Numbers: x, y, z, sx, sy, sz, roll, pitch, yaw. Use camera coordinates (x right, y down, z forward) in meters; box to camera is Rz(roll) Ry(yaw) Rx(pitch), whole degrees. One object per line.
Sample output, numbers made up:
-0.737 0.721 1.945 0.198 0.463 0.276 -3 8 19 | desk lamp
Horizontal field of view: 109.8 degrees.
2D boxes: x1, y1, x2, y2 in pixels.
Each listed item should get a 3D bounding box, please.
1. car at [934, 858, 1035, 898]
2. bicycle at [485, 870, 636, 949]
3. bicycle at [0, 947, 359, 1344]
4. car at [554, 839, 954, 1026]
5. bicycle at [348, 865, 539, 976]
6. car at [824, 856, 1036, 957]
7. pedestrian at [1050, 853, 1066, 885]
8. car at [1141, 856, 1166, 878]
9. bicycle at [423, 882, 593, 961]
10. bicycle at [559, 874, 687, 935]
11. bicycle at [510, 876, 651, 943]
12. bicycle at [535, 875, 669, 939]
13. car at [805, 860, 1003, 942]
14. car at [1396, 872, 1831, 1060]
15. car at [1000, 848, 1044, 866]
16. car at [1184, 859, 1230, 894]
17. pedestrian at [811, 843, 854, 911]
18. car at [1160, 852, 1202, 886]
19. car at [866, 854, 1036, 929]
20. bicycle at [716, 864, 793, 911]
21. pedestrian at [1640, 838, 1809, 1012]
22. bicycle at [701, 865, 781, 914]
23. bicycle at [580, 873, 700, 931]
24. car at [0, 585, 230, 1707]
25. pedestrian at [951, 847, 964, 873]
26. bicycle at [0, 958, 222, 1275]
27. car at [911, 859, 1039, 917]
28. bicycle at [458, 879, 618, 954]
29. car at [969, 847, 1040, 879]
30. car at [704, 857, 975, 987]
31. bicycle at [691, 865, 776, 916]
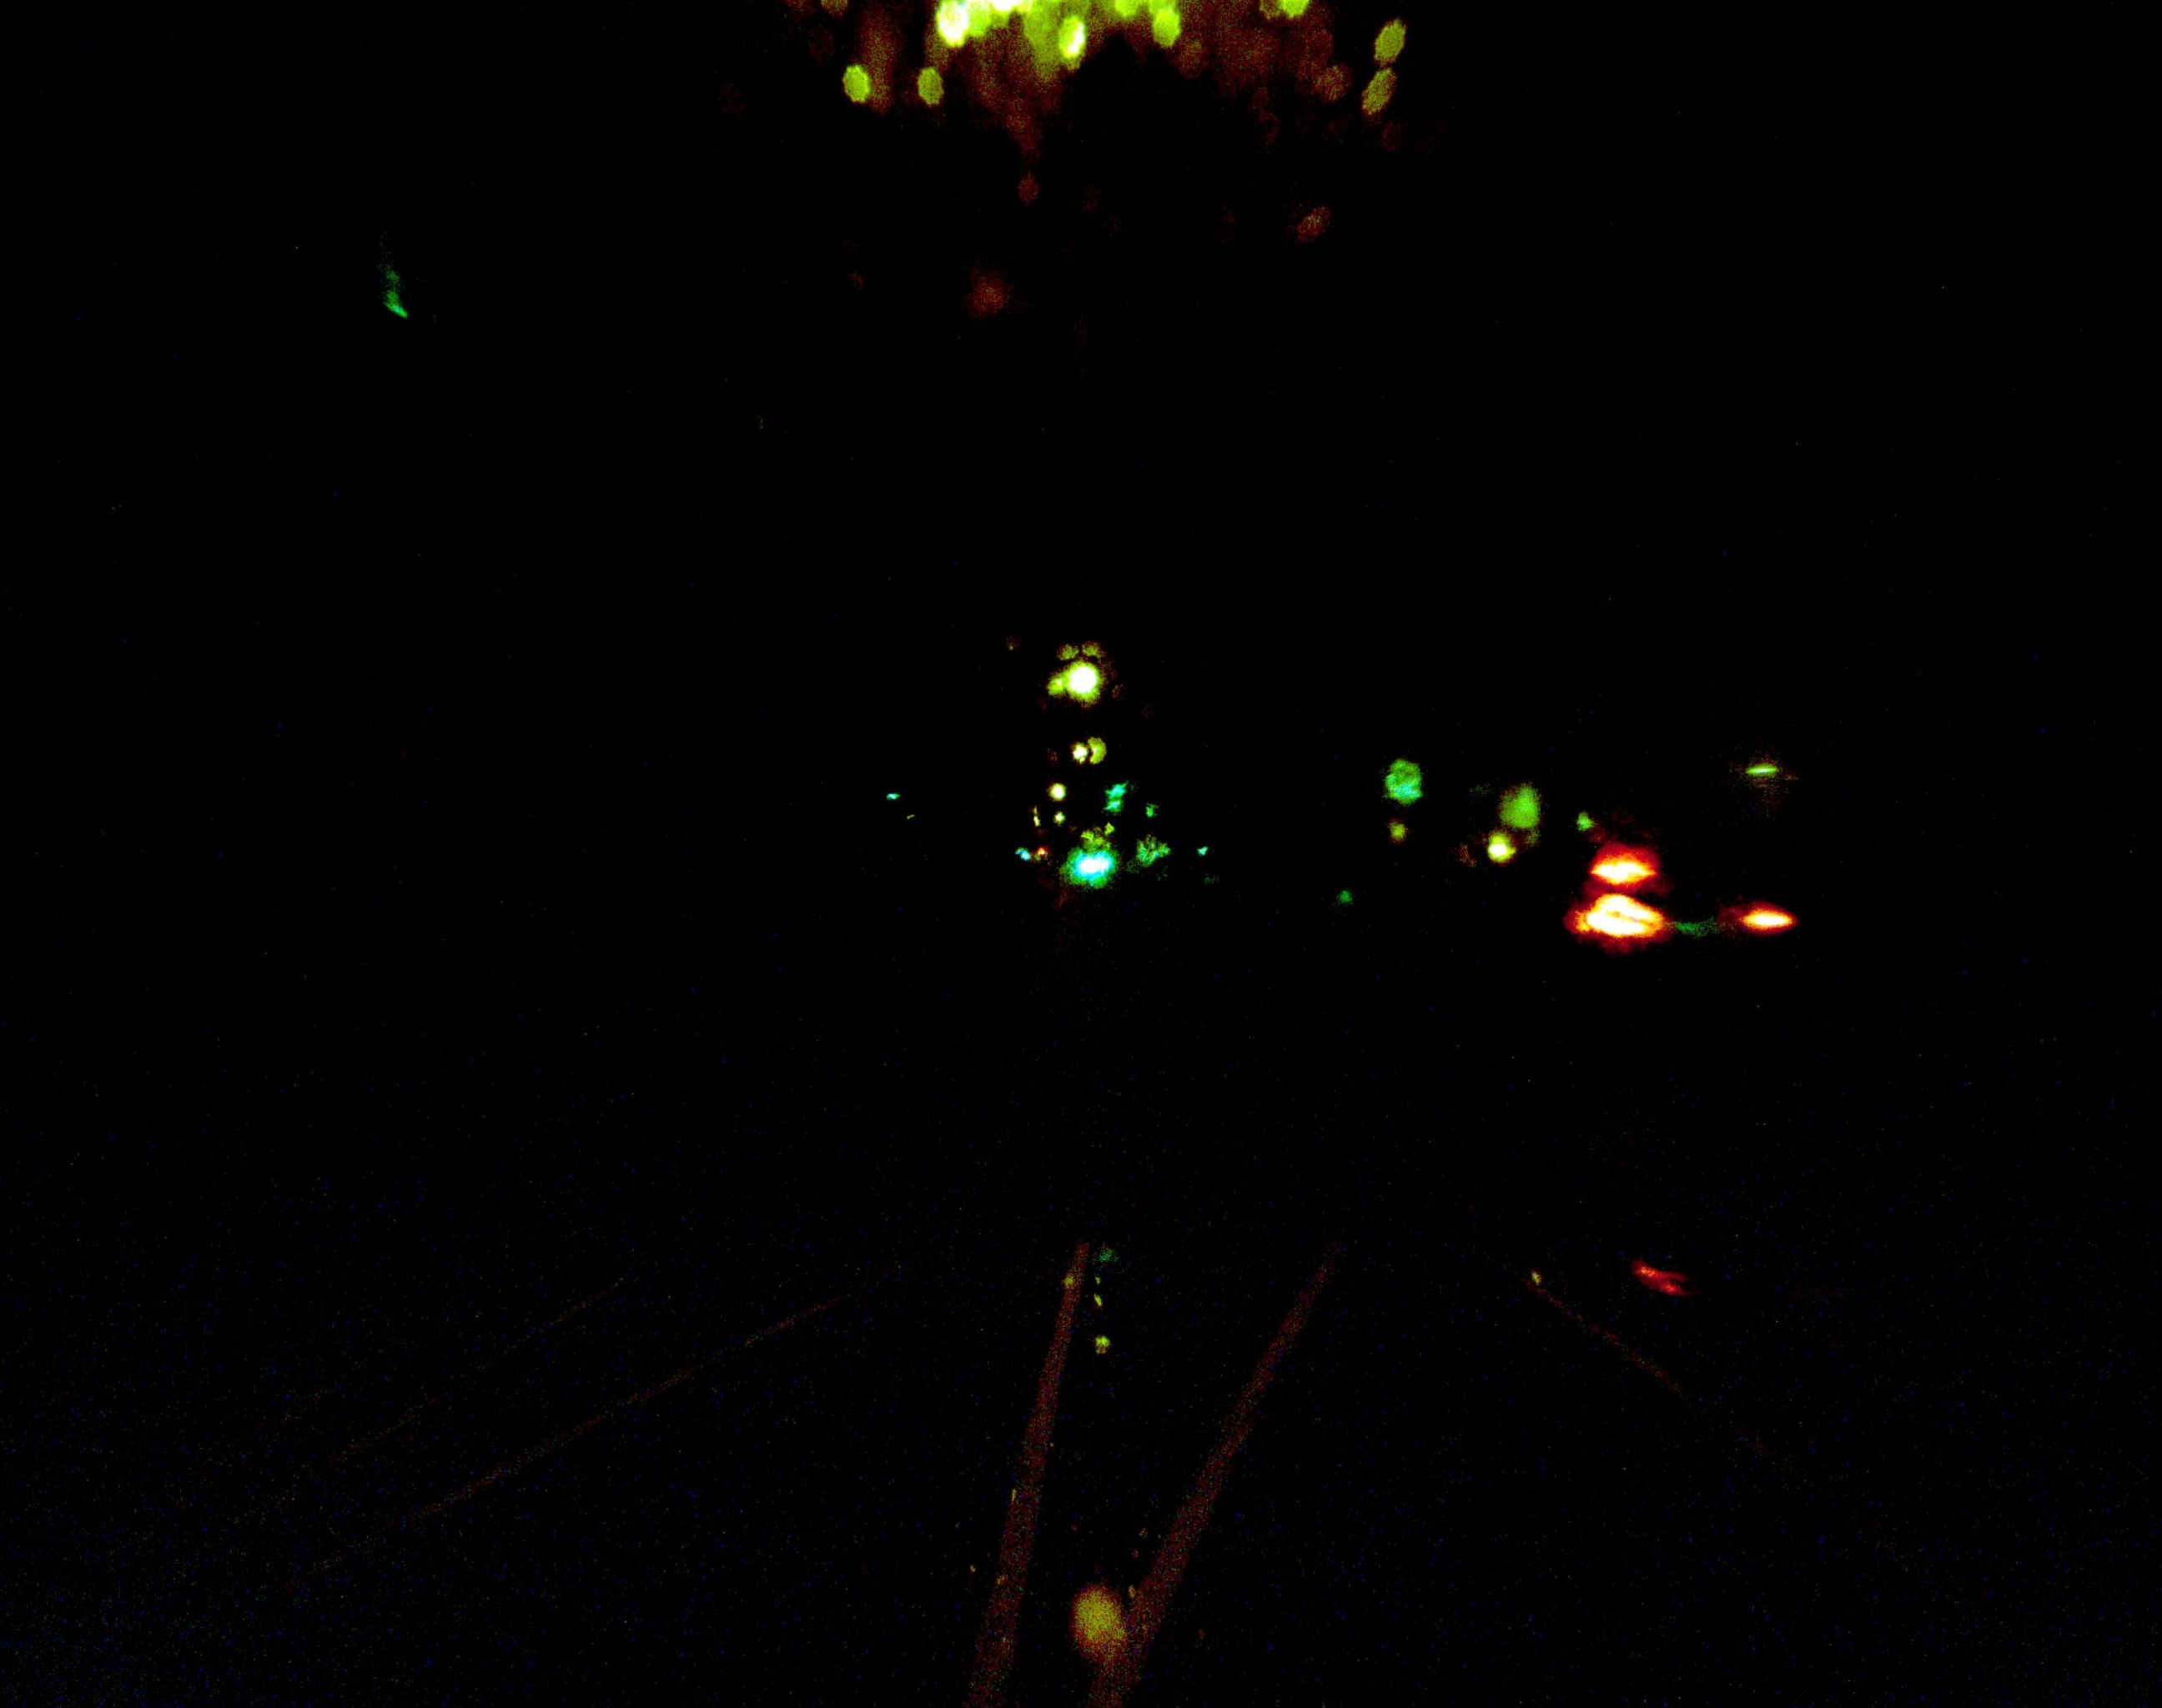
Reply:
-3.930 0.989 30.928 3.717 1.514 1.653 1 0 -25 | car
-8.400 0.890 12.309 1.978 1.184 0.509 2 1 -6 | bicycle
-4.033 1.077 3.113 0.586 1.165 1.863 -1 0 -9 | bicycle
-3.919 0.811 9.409 4.256 1.848 1.712 2 0 -35 | car
-8.517 0.851 10.194 1.975 1.327 0.783 2 0 7 | bicycle
-3.040 0.969 15.423 3.809 1.718 1.738 -2 0 -30 | car
-1.290 0.826 42.754 0.824 1.760 1.177 0 0 0 | pedestrian
5.615 0.971 58.807 1.816 1.660 4.413 -1 0 6 | car
-8.332 0.975 11.102 1.978 1.048 0.509 2 0 -6 | bicycle
-8.519 0.935 14.187 1.978 1.048 0.509 2 0 -6 | bicycle
-8.509 0.946 12.966 1.978 1.048 0.509 2 0 -6 | bicycle
-8.556 0.938 13.610 1.978 1.048 0.509 2 0 -6 | bicycle
-4.050 1.000 17.495 4.068 1.601 1.840 -1 0 -29 | car
5.033 0.924 8.038 1.658 1.351 4.222 -1 0 0 | car
-5.796 0.325 74.951 3.810 1.679 1.831 2 -1 -31 | car
5.584 0.966 34.097 1.550 1.434 3.563 -3 0 2 | car
-6.989 0.627 21.418 0.841 1.825 0.947 4 1 -3 | pedestrian
5.637 0.794 43.453 1.871 1.835 4.827 0 0 1 | car
-3.493 0.943 20.513 4.112 1.754 1.855 -1 0 -27 | car
-8.440 0.869 19.672 1.690 1.140 0.541 3 0 -8 | bicycle
6.914 0.738 8.214 1.135 1.772 0.788 -1 0 1 | pedestrian
-8.477 0.872 18.991 1.690 1.140 0.596 3 0 -8 | bicycle
-8.636 0.937 14.938 1.978 1.048 0.509 2 0 -6 | bicycle
-4.250 0.575 0.404 4.735 2.235 1.941 0 1 -36 | car
-9.007 0.457 55.482 0.747 1.829 0.843 1 -2 -1 | pedestrian
-4.670 1.126 3.027 0.586 1.165 1.863 -1 0 -9 | bicycle
-3.263 0.989 23.375 3.569 1.601 1.710 -1 0 -21 | car
-8.292 0.959 11.661 1.978 1.048 0.509 2 0 -6 | bicycle
-5.806 0.689 58.146 4.951 2.327 2.226 0 0 -34 | car
-3.822 0.952 12.198 3.781 1.718 1.713 -1 0 -33 | car
-8.334 0.872 18.292 1.690 1.140 0.665 3 0 -8 | bicycle
